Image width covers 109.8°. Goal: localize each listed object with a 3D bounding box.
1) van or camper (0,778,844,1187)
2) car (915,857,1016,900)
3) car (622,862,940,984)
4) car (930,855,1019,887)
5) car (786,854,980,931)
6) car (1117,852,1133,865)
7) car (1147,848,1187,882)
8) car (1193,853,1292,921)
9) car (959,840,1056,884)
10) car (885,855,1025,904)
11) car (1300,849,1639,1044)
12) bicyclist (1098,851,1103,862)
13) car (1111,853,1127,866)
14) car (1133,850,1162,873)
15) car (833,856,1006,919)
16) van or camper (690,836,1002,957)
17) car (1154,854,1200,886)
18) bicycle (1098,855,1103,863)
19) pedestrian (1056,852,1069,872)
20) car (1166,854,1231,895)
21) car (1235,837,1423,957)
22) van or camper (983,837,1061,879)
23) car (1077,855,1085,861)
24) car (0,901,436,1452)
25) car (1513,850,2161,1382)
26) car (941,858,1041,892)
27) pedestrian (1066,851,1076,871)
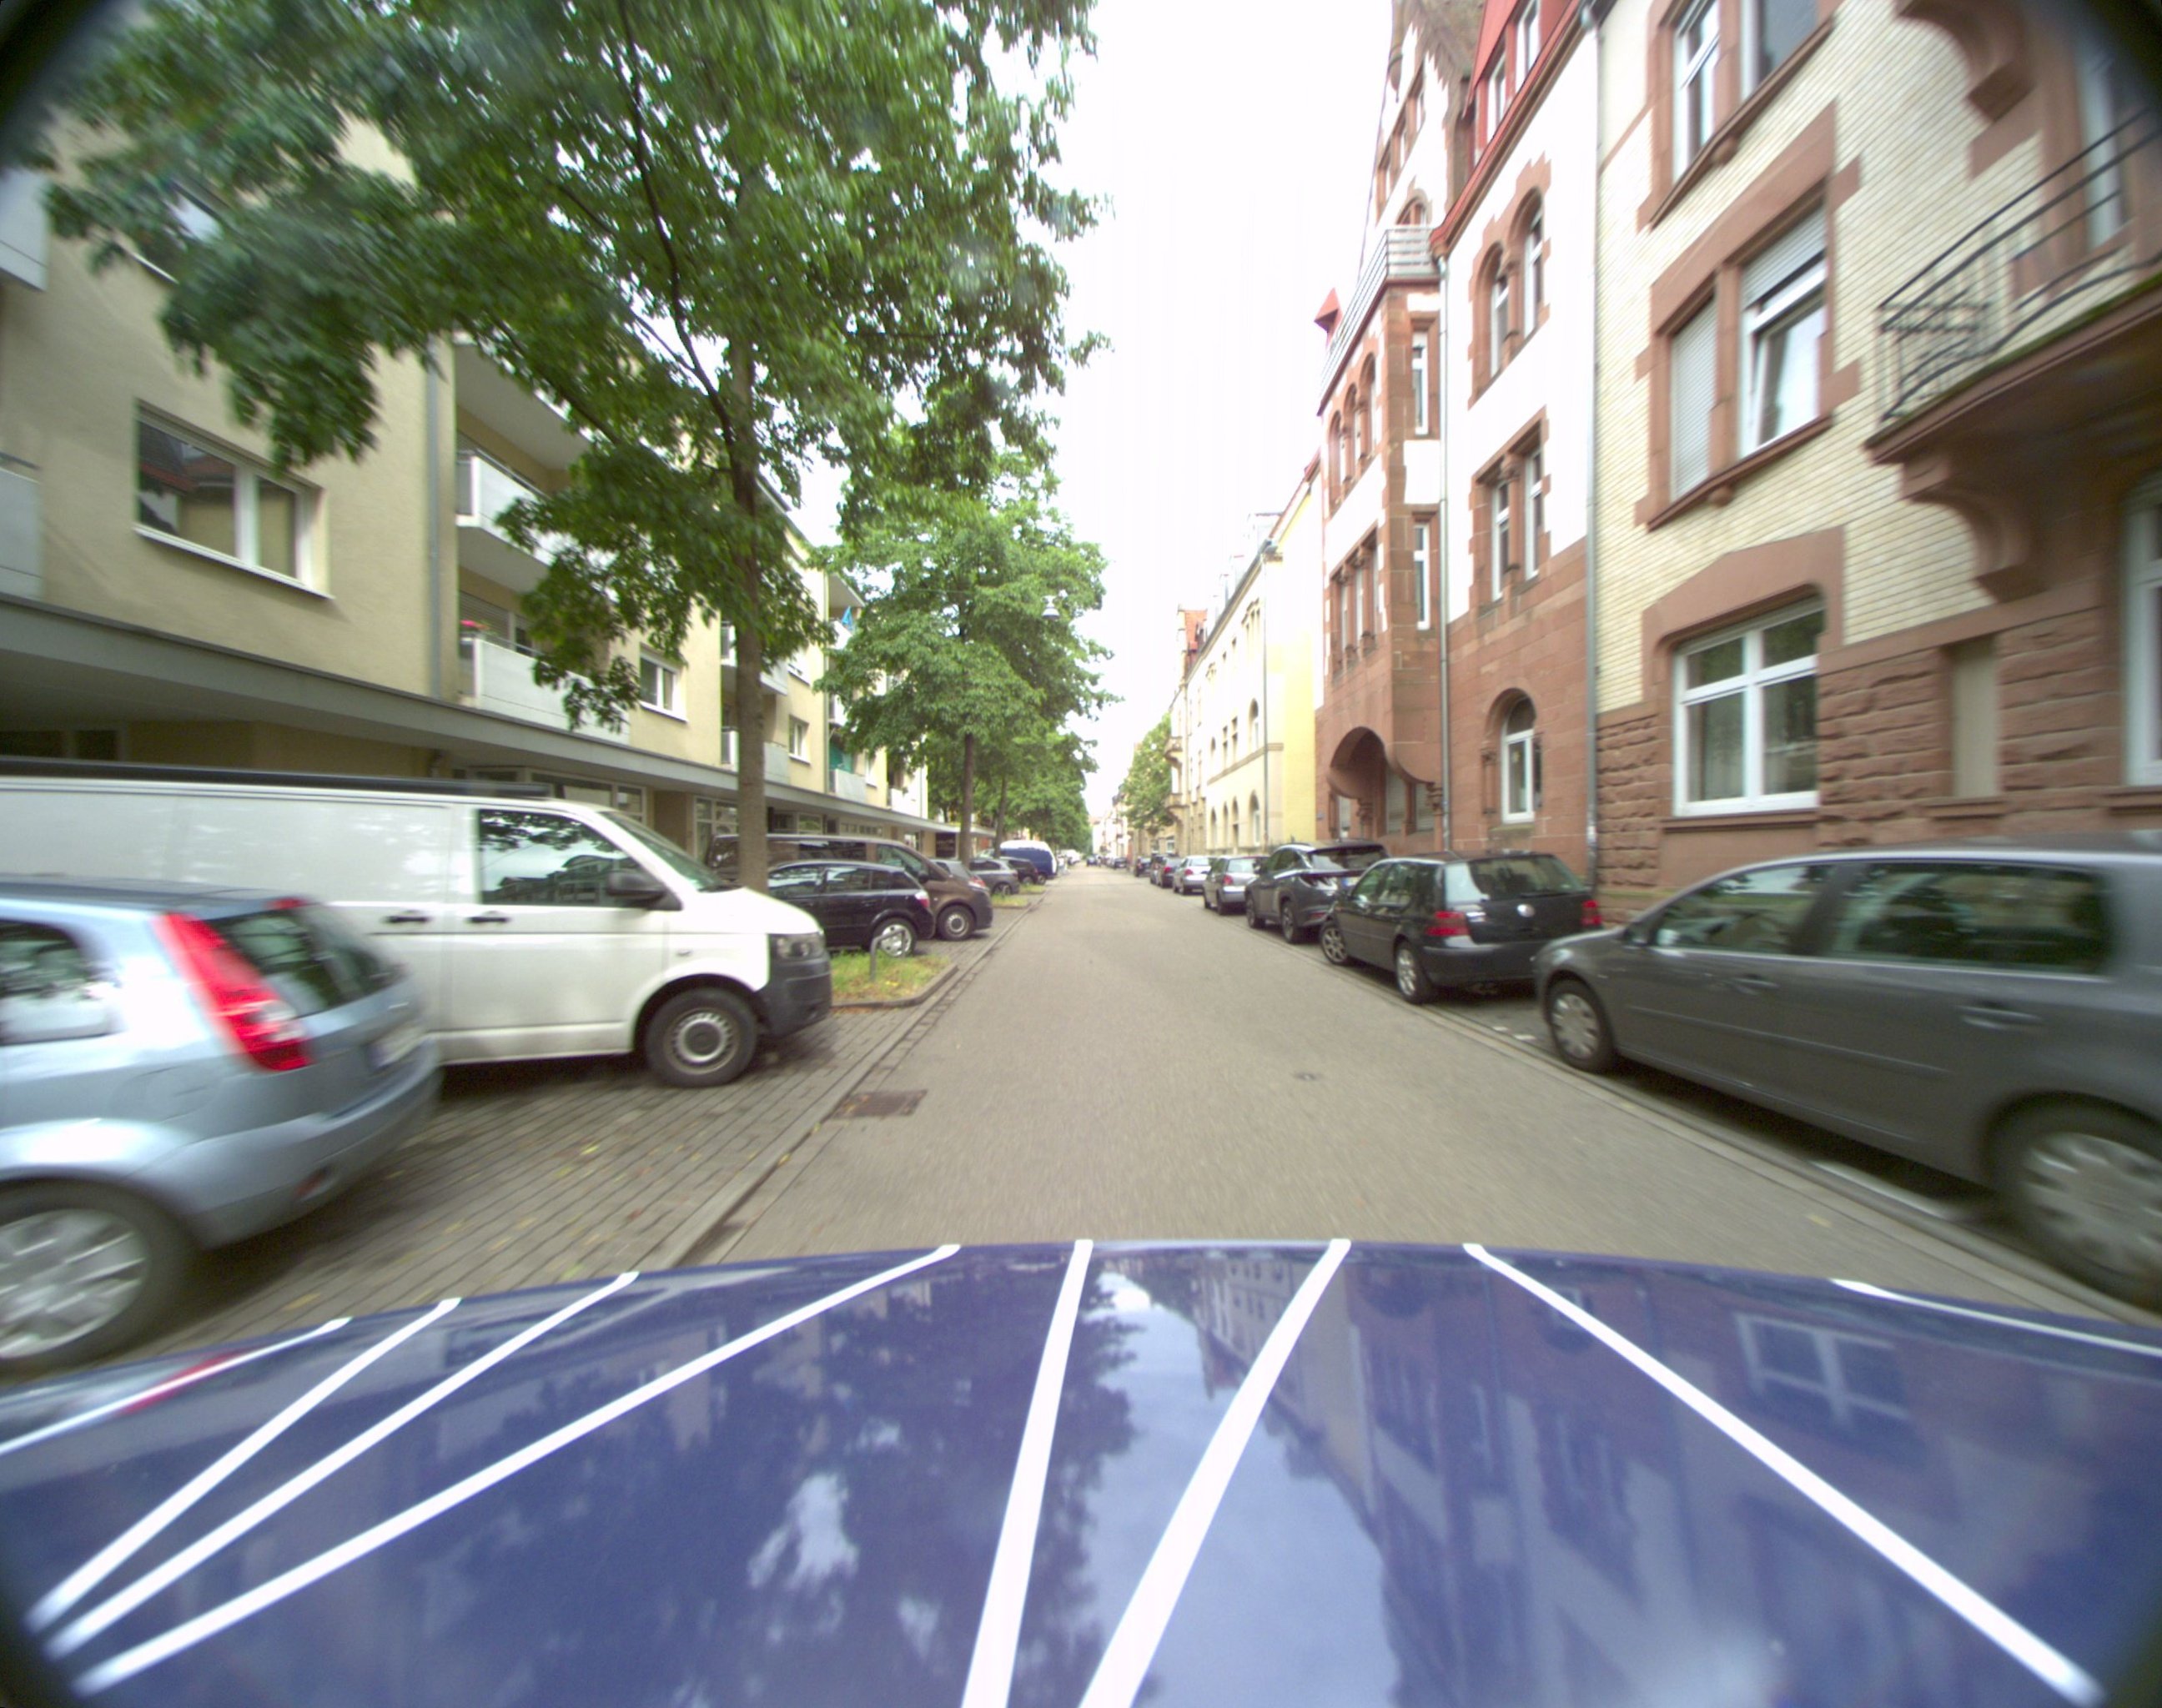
[{"bbox_3d":[-4.194,0.625,5.150,4.751,1.983,1.995,1,2,-22],"label":"van or camper"},{"bbox_3d":[-4.287,0.857,28.141,3.374,1.488,1.848,0,1,-23],"label":"car"},{"bbox_3d":[-4.305,0.898,11.041,4.015,1.436,1.837,2,0,-31],"label":"car"},{"bbox_3d":[-5.145,0.811,36.801,3.919,1.457,1.821,0,1,-24],"label":"car"},{"bbox_3d":[-4.365,0.788,16.684,3.866,1.493,1.909,1,1,-24],"label":"car"},{"bbox_3d":[4.927,0.482,85.052,1.731,1.425,3.882,-2,0,2],"label":"car"},{"bbox_3d":[4.424,0.573,39.369,1.651,1.561,2.957,-3,-1,-1],"label":"car"},{"bbox_3d":[3.996,0.754,19.417,1.666,1.412,3.929,-5,0,2],"label":"car"},{"bbox_3d":[-3.847,0.446,40.193,4.716,2.183,2.061,2,-1,-38],"label":"car"},{"bbox_3d":[-4.238,0.833,25.691,4.234,1.492,1.971,1,1,-29],"label":"car"},{"bbox_3d":[3.847,0.767,8.381,1.639,1.464,3.999,-5,1,1],"label":"car"},{"bbox_3d":[2.700,0.302,103.308,0.649,1.529,0.677,0,1,3],"label":"bicyclist"},{"bbox_3d":[4.696,0.672,94.211,1.593,1.425,3.809,-2,0,-1],"label":"car"},{"bbox_3d":[4.631,0.500,53.609,1.713,1.486,4.000,-3,0,2],"label":"car"},{"bbox_3d":[-4.190,0.812,19.669,4.057,1.475,1.944,1,1,-23],"label":"car"},{"bbox_3d":[-4.188,0.687,13.752,5.029,1.858,2.122,1,1,-25],"label":"van or camper"},{"bbox_3d":[4.368,0.705,35.119,1.730,1.378,3.929,-1,0,2],"label":"car"},{"bbox_3d":[2.703,0.693,103.317,0.635,1.087,1.800,0,-1,2],"label":"bicycle"},{"bbox_3d":[-1.442,0.616,59.291,0.630,1.584,0.671,-1,1,41],"label":"pedestrian"},{"bbox_3d":[4.320,0.721,28.491,1.731,1.378,4.136,-1,0,-1],"label":"car"},{"bbox_3d":[4.115,0.636,13.441,1.791,1.637,4.361,-5,0,0],"label":"car"},{"bbox_3d":[-3.764,0.217,48.930,4.604,2.581,1.906,-1,1,-32],"label":"van or camper"},{"bbox_3d":[0.002,1.038,197.548,1.998,1.739,4.001,-1,0,2],"label":"car"},{"bbox_3d":[-4.361,0.937,2.298,3.431,1.433,1.667,1,0,-31],"label":"car"},{"bbox_3d":[3.999,0.770,3.517,1.672,1.464,4.000,-4,0,1],"label":"car"},{"bbox_3d":[-4.070,0.909,34.411,4.120,1.434,1.848,0,1,-31],"label":"car"},{"bbox_3d":[-0.804,0.557,60.135,0.617,1.634,0.604,-1,0,12],"label":"pedestrian"}]
